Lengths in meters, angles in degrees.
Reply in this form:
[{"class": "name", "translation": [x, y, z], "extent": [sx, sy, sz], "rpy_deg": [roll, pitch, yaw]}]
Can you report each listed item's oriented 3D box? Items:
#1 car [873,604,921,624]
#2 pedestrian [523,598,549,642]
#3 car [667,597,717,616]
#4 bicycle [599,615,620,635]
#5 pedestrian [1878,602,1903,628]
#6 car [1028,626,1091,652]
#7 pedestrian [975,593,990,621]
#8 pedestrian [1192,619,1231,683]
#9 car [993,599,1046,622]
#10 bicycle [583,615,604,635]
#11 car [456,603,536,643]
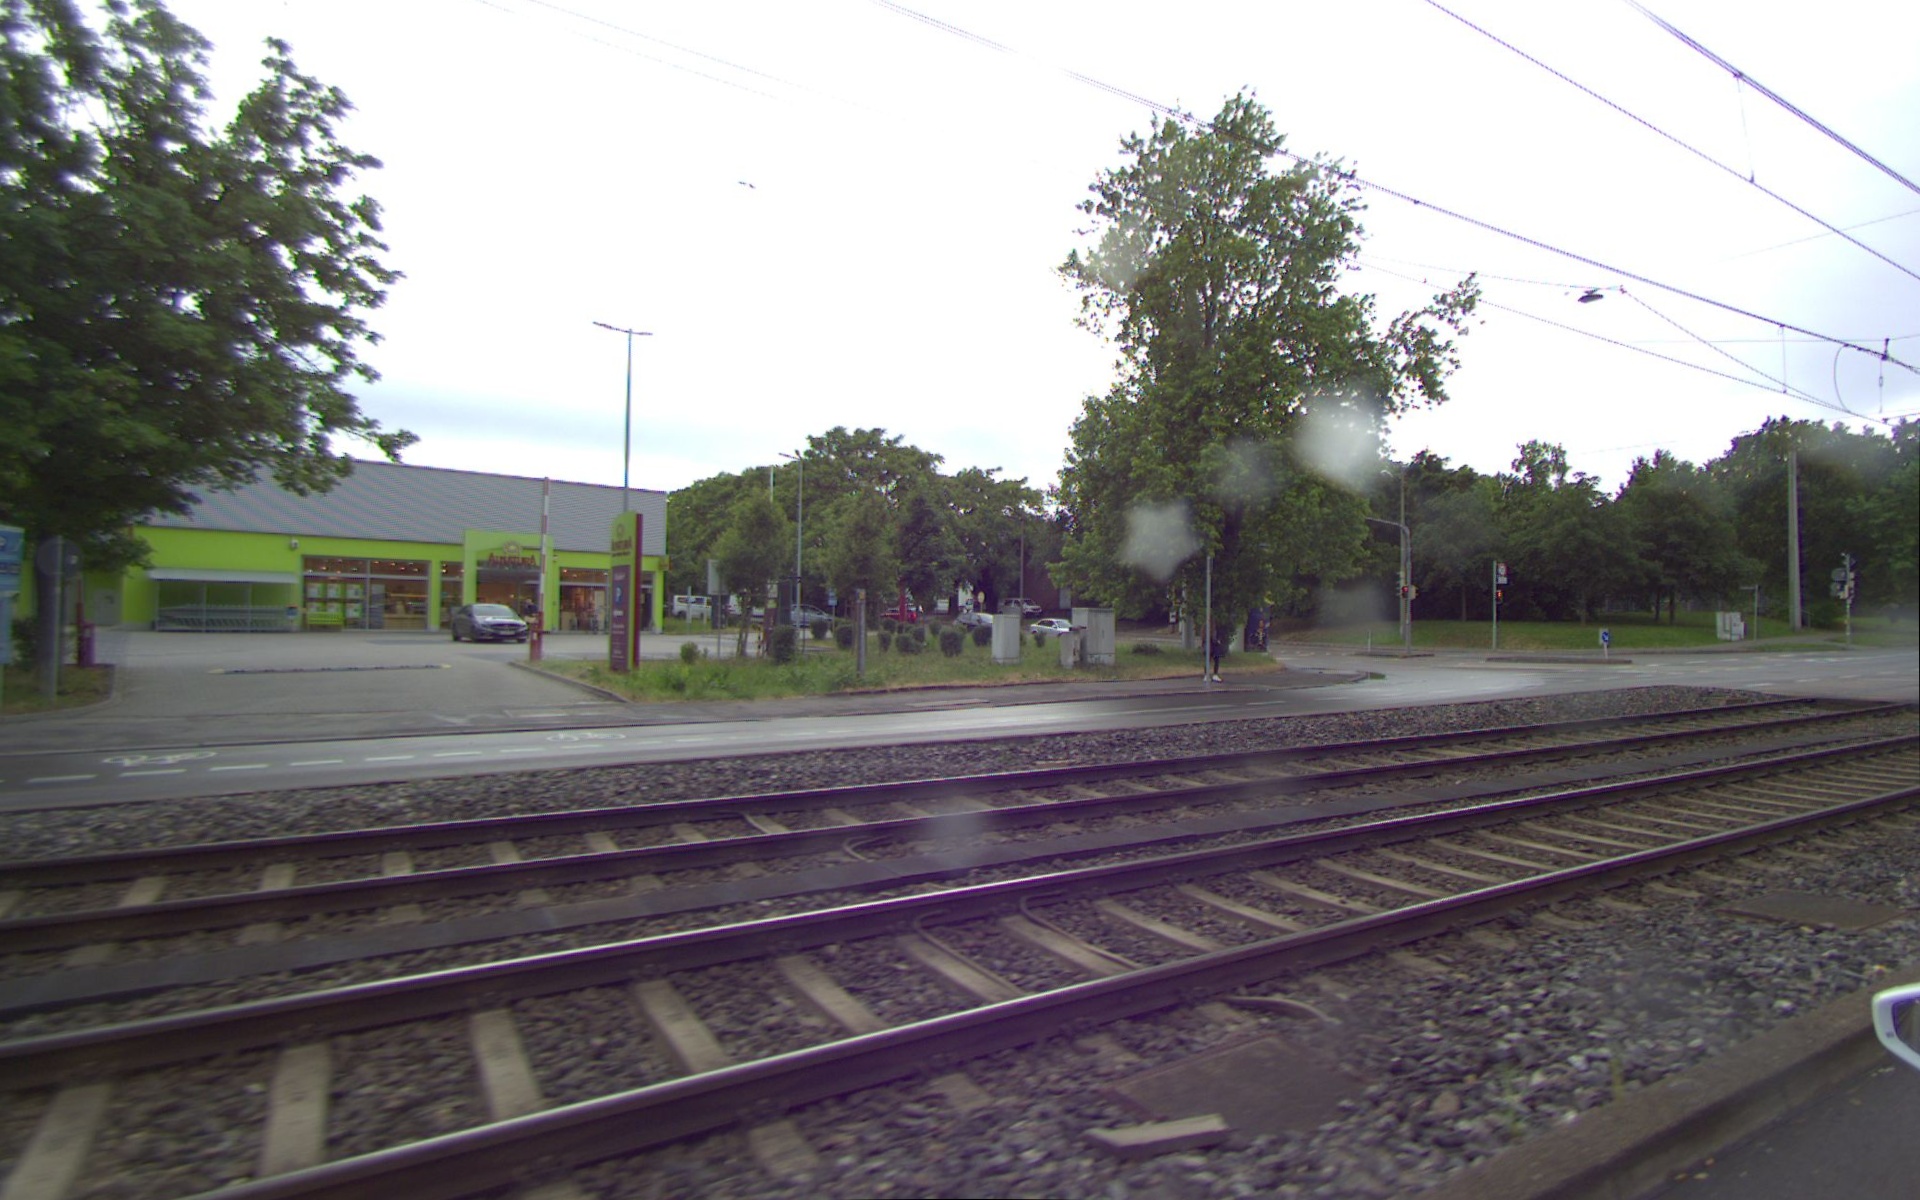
[{"class": "car", "translation": [-5.392, 1.161, 85.523], "extent": [1.829, 1.554, 4.150], "rpy_deg": [2, 0, -42]}, {"class": "pedestrian", "translation": [-16.335, 0.767, 38.666], "extent": [0.750, 1.618, 0.797], "rpy_deg": [3, 0, -30]}, {"class": "car", "translation": [-21.447, 0.519, 80.522], "extent": [3.663, 1.502, 1.582], "rpy_deg": [0, -1, -4]}, {"class": "bicycle", "translation": [-18.087, 1.309, 51.862], "extent": [0.529, 0.995, 1.597], "rpy_deg": [1, 0, -38]}, {"class": "pedestrian", "translation": [60.115, 0.960, 64.903], "extent": [1.030, 1.622, 1.006], "rpy_deg": [1, 0, -38]}, {"class": "car", "translation": [5.824, 2.291, 59.352], "extent": [1.572, 1.456, 4.396], "rpy_deg": [1, -2, -28]}, {"class": "pedestrian", "translation": [1.339, 0.396, 59.387], "extent": [0.598, 1.623, 0.673], "rpy_deg": [3, 0, -24]}, {"class": "pedestrian", "translation": [6.330, 1.283, 25.293], "extent": [0.661, 1.552, 0.588], "rpy_deg": [3, 0, -31]}, {"class": "car", "translation": [5.330, 0.926, 90.991], "extent": [1.981, 1.829, 5.095], "rpy_deg": [3, -1, -36]}, {"class": "bicycle", "translation": [-18.761, 1.268, 51.370], "extent": [0.529, 0.995, 1.597], "rpy_deg": [1, 0, -38]}, {"class": "car", "translation": [-17.149, 0.832, 37.011], "extent": [1.760, 1.363, 4.331], "rpy_deg": [2, -1, -37]}]
